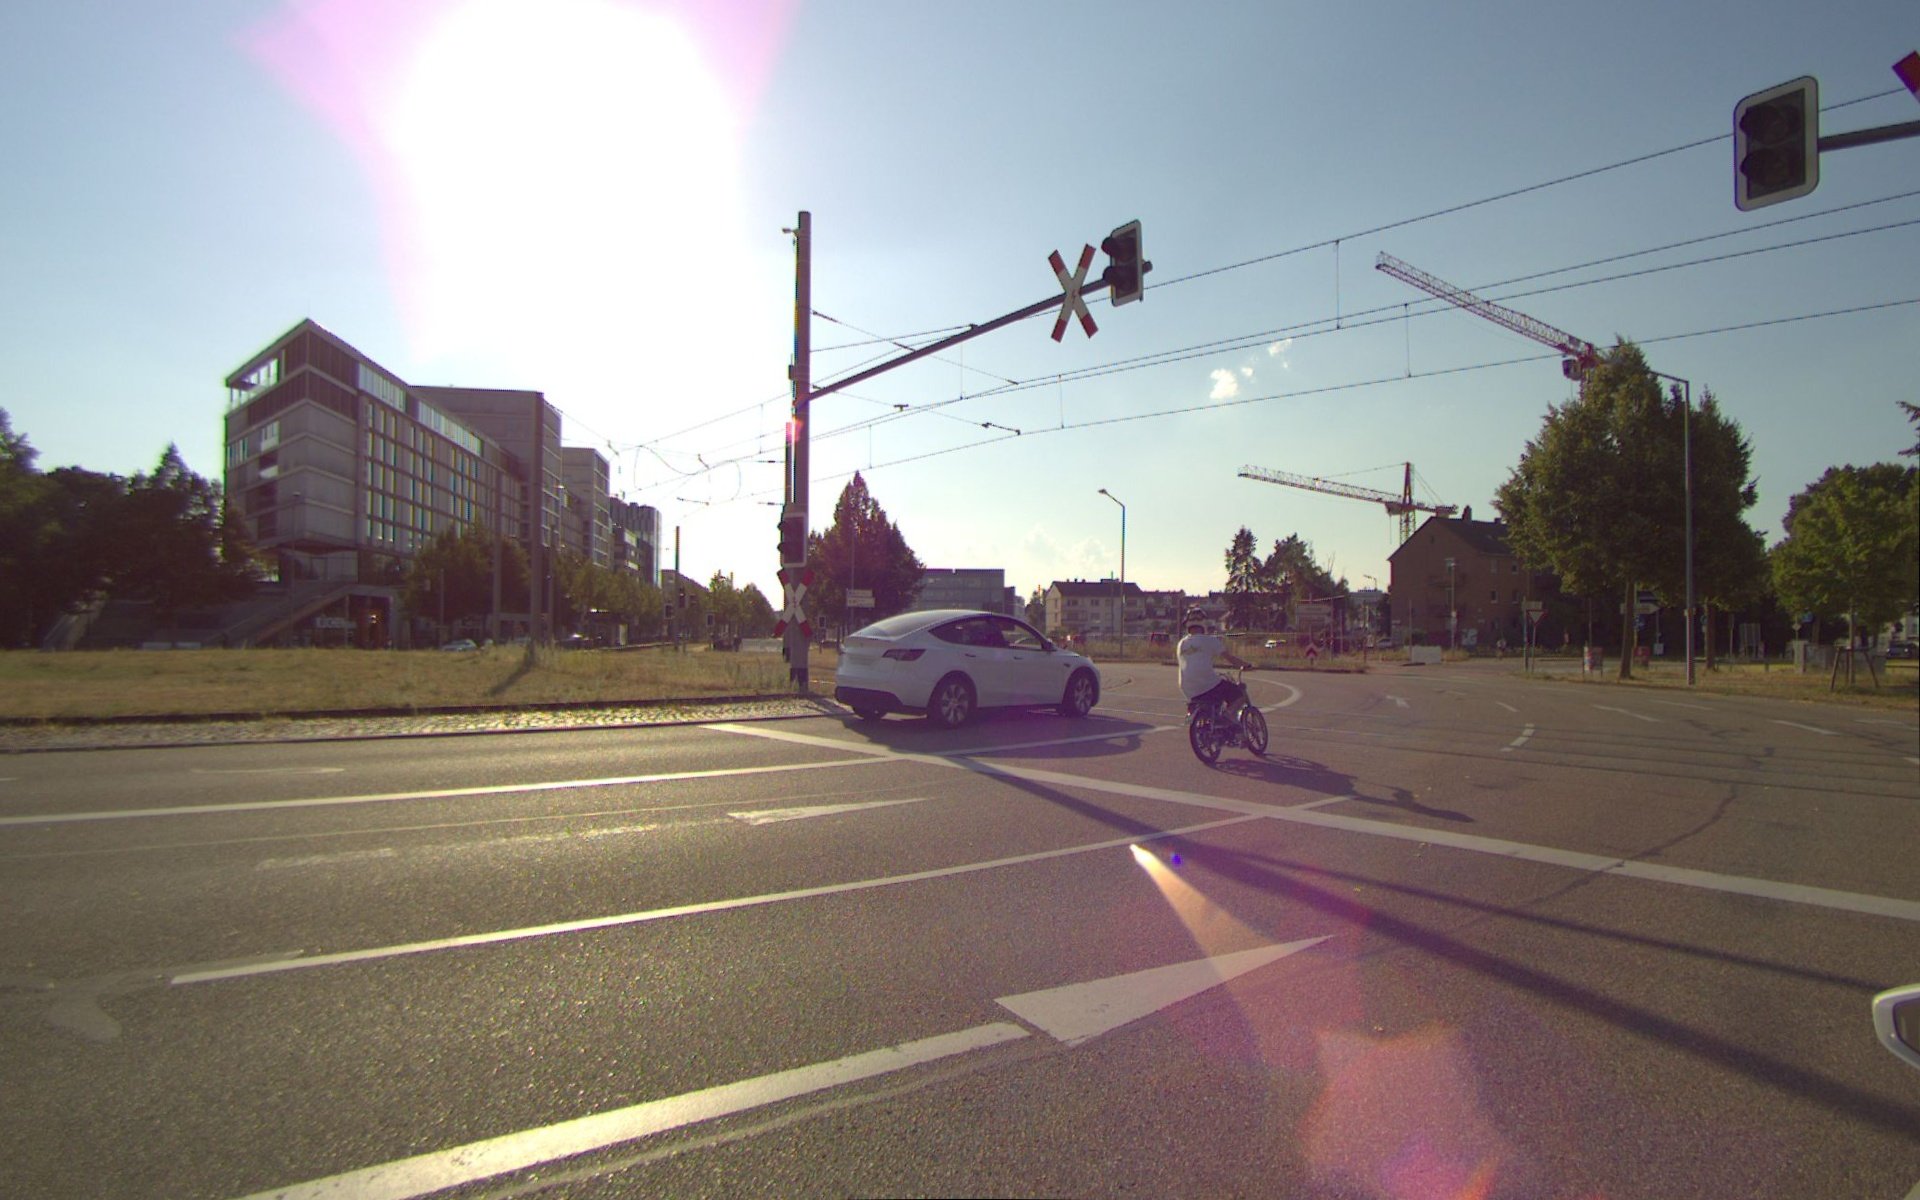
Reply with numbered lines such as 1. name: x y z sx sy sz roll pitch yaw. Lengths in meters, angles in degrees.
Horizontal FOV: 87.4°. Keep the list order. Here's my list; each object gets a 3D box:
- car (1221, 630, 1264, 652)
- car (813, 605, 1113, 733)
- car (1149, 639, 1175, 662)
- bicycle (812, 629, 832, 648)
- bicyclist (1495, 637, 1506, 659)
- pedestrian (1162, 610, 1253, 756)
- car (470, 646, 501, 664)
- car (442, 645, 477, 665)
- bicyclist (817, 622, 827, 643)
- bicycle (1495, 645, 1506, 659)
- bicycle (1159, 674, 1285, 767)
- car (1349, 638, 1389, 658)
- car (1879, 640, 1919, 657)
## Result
1. car: 27.039 3.911 96.258 1.655 2.040 3.784 2 -3 -35
2. car: 0.193 0.955 15.142 4.646 1.620 1.718 2 -1 -44
3. car: 17.605 4.363 87.682 1.886 1.878 4.003 0 -2 7
4. bicycle: -10.772 3.003 78.500 1.513 1.493 0.480 0 -2 16
5. bicyclist: 39.103 3.475 72.672 0.649 1.582 0.892 -1 -2 33
6. pedestrian: 2.746 0.887 11.130 0.649 1.539 0.849 -1 -2 44
7. car: -41.168 4.736 87.189 1.457 1.495 3.296 0 -2 -7
8. car: -39.952 4.349 80.292 1.457 1.495 3.296 0 -2 -7
9. bicyclist: -10.807 2.548 78.516 0.596 1.694 0.478 0 -2 16
10. bicycle: 38.974 3.741 72.461 0.588 0.976 2.101 -1 -2 32
11. bicycle: 2.956 1.306 11.219 1.843 0.887 0.473 2 -2 -43
12. car: 43.982 5.165 108.103 1.655 2.040 3.784 2 -3 -35
13. car: 86.228 4.462 92.268 3.506 1.461 1.578 1 -2 -26
